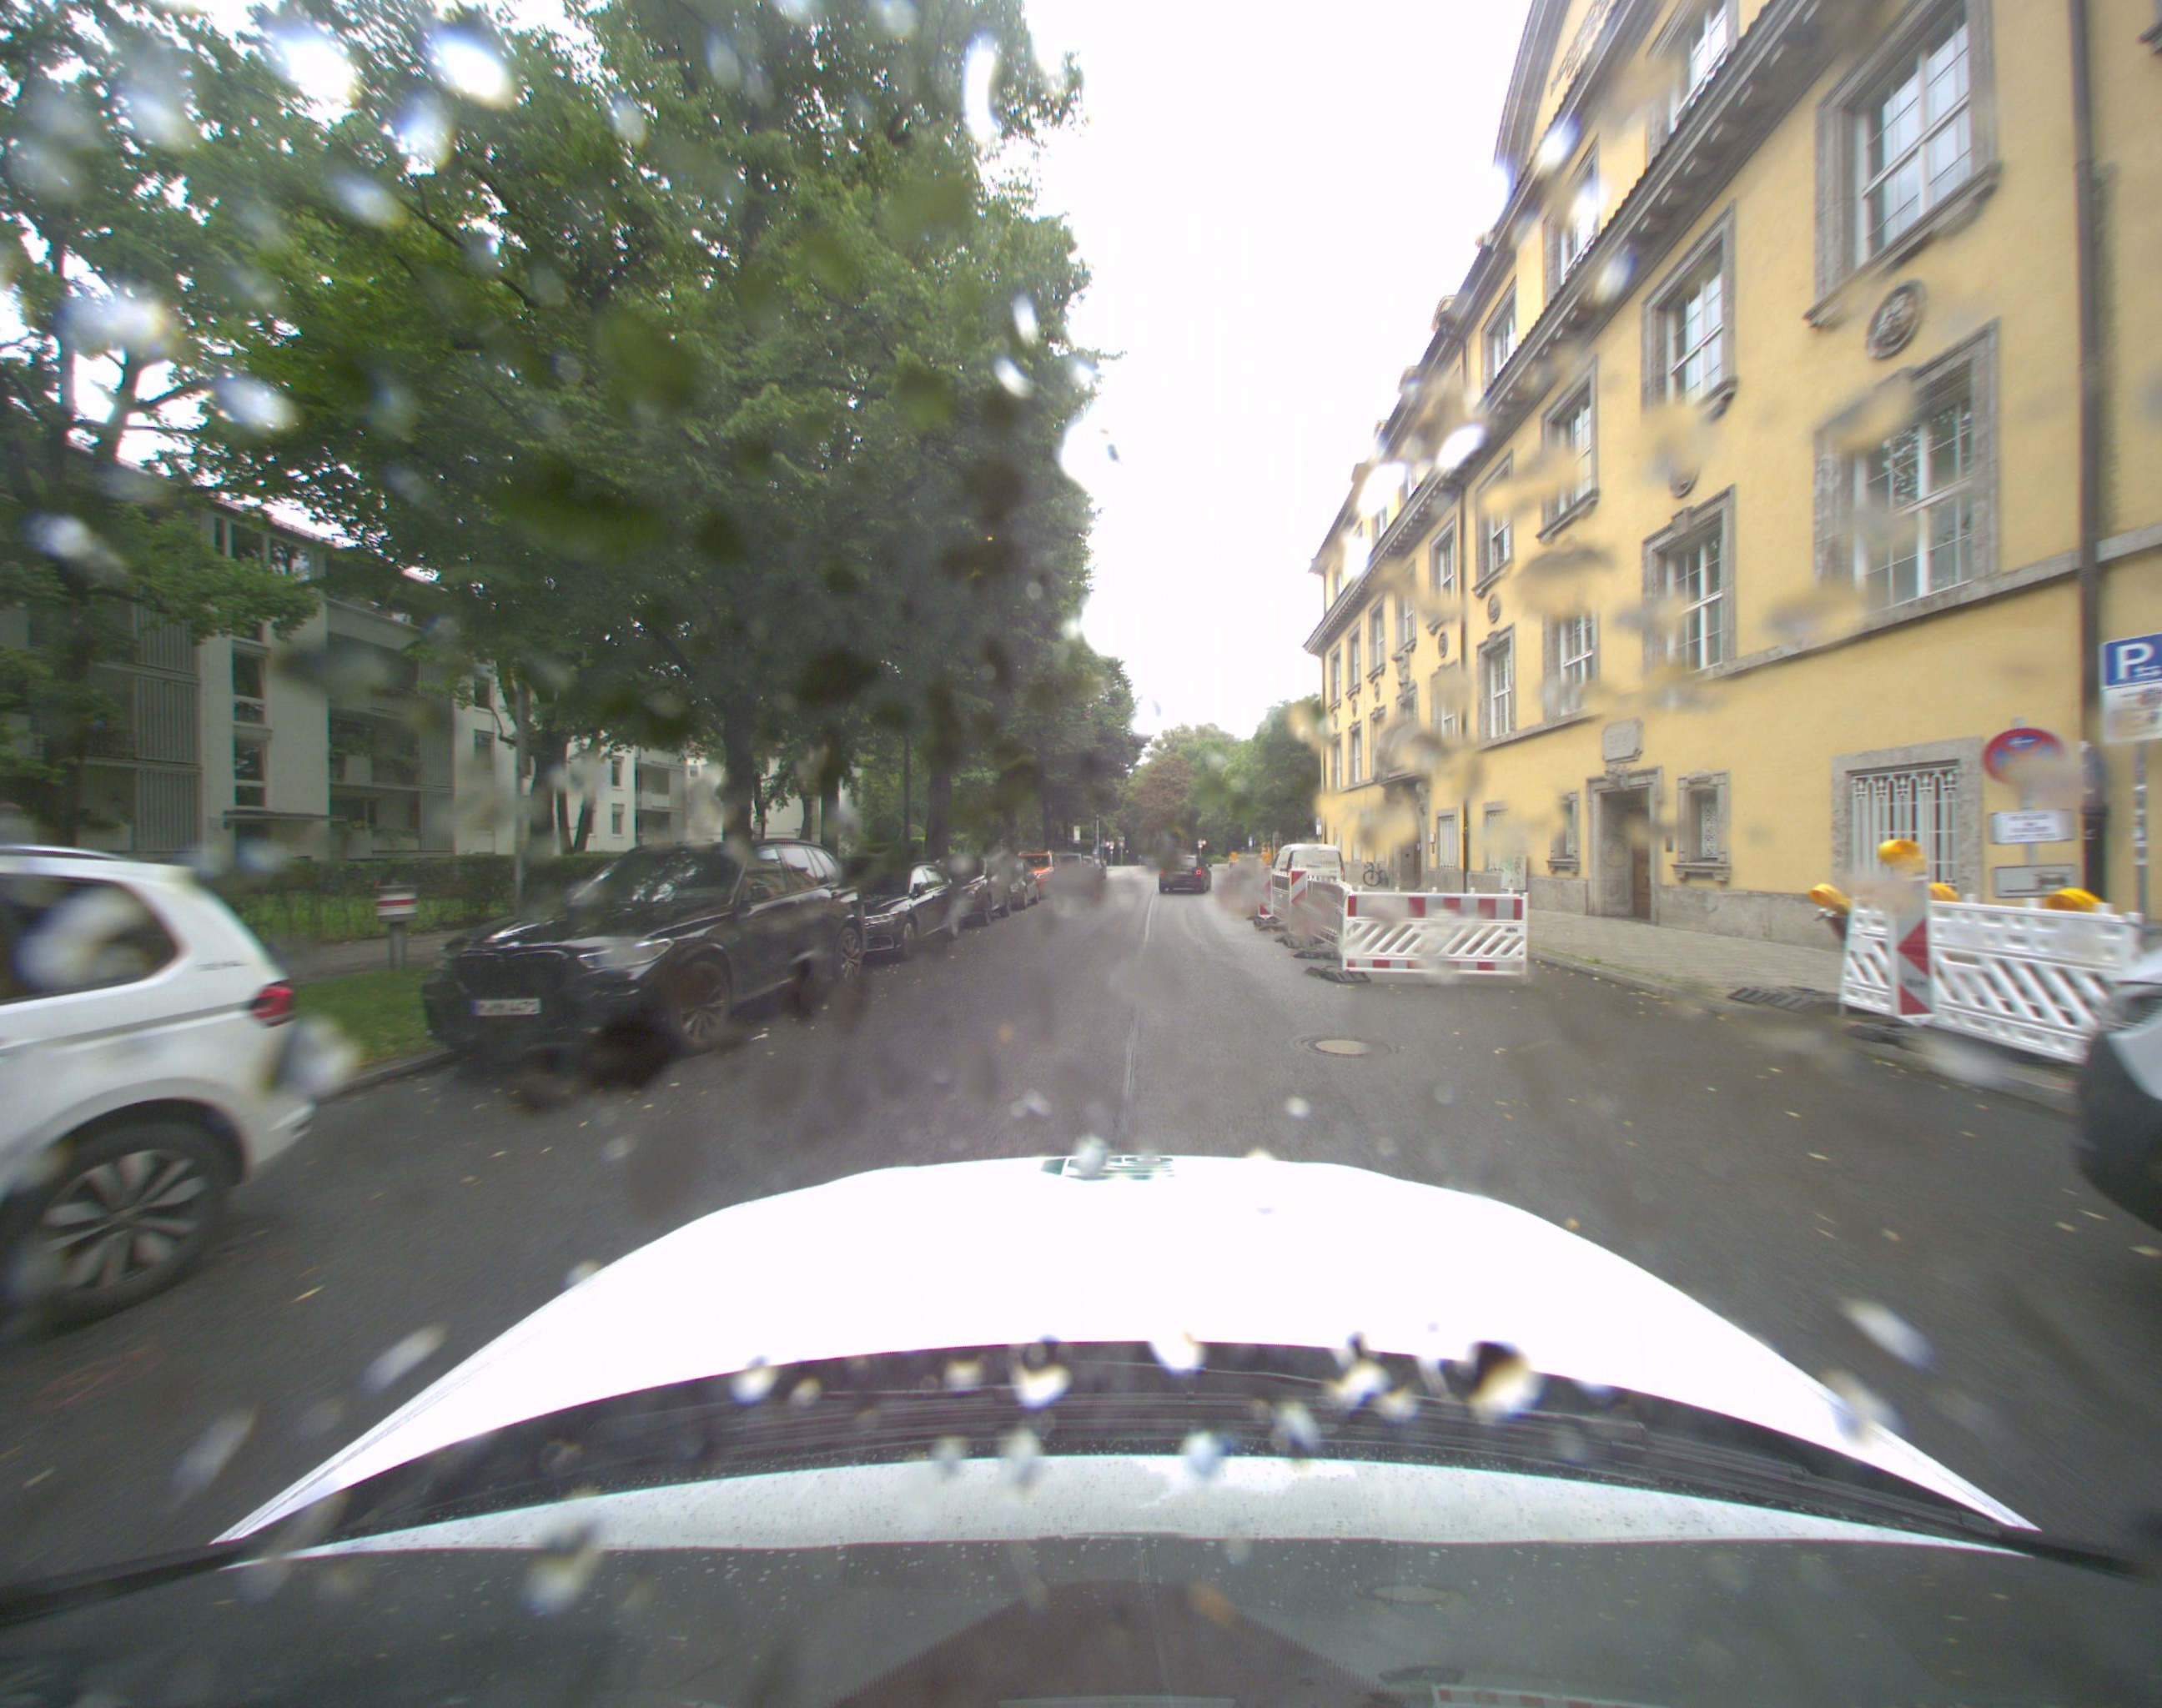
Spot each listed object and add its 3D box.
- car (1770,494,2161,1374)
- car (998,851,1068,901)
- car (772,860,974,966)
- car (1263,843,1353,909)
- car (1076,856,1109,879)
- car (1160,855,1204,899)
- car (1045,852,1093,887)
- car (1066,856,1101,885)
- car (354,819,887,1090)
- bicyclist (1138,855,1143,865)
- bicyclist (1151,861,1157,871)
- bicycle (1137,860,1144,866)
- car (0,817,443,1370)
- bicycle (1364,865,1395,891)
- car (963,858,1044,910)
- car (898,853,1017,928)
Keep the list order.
[{"bbox_3d":[4.163,0.221,0.104,2.046,2.673,7.620,0,0,3],"label":"car"},{"bbox_3d":[-1.702,0.769,30.507,1.863,1.728,4.649,0,0,6],"label":"car"},{"bbox_3d":[-3.197,0.836,13.618,1.710,1.451,4.703,0,0,6],"label":"car"},{"bbox_3d":[6.615,0.628,24.133,1.732,1.750,4.360,0,-1,4],"label":"car"},{"bbox_3d":[0.741,0.816,50.244,1.569,1.343,4.052,-1,0,7],"label":"car"},{"bbox_3d":[3.983,0.855,31.668,1.568,1.584,4.053,-1,0,8],"label":"car"},{"bbox_3d":[-0.520,0.725,39.353,1.806,1.601,4.520,0,0,5],"label":"car"},{"bbox_3d":[0.172,0.871,44.960,1.570,1.497,4.205,0,0,5],"label":"car"},{"bbox_3d":[-3.749,0.708,7.985,1.983,1.797,4.929,-2,-1,6],"label":"car"},{"bbox_3d":[8.883,0.900,121.514,0.679,1.504,0.900,-1,0,-3],"label":"bicyclist"},{"bbox_3d":[9.623,1.587,107.685,0.679,1.187,0.480,-1,0,-5],"label":"bicyclist"},{"bbox_3d":[8.865,1.310,121.418,0.678,0.830,2.107,0,-1,-4],"label":"bicycle"},{"bbox_3d":[-4.167,0.738,1.670,1.756,1.622,4.531,-3,-1,7],"label":"car"},{"bbox_3d":[12.002,0.965,32.786,0.677,1.006,2.060,0,-1,5],"label":"bicycle"},{"bbox_3d":[-2.252,0.857,24.812,1.719,1.423,4.256,0,0,4],"label":"car"},{"bbox_3d":[-2.760,0.764,19.255,1.778,1.574,4.492,0,0,4],"label":"car"}]
